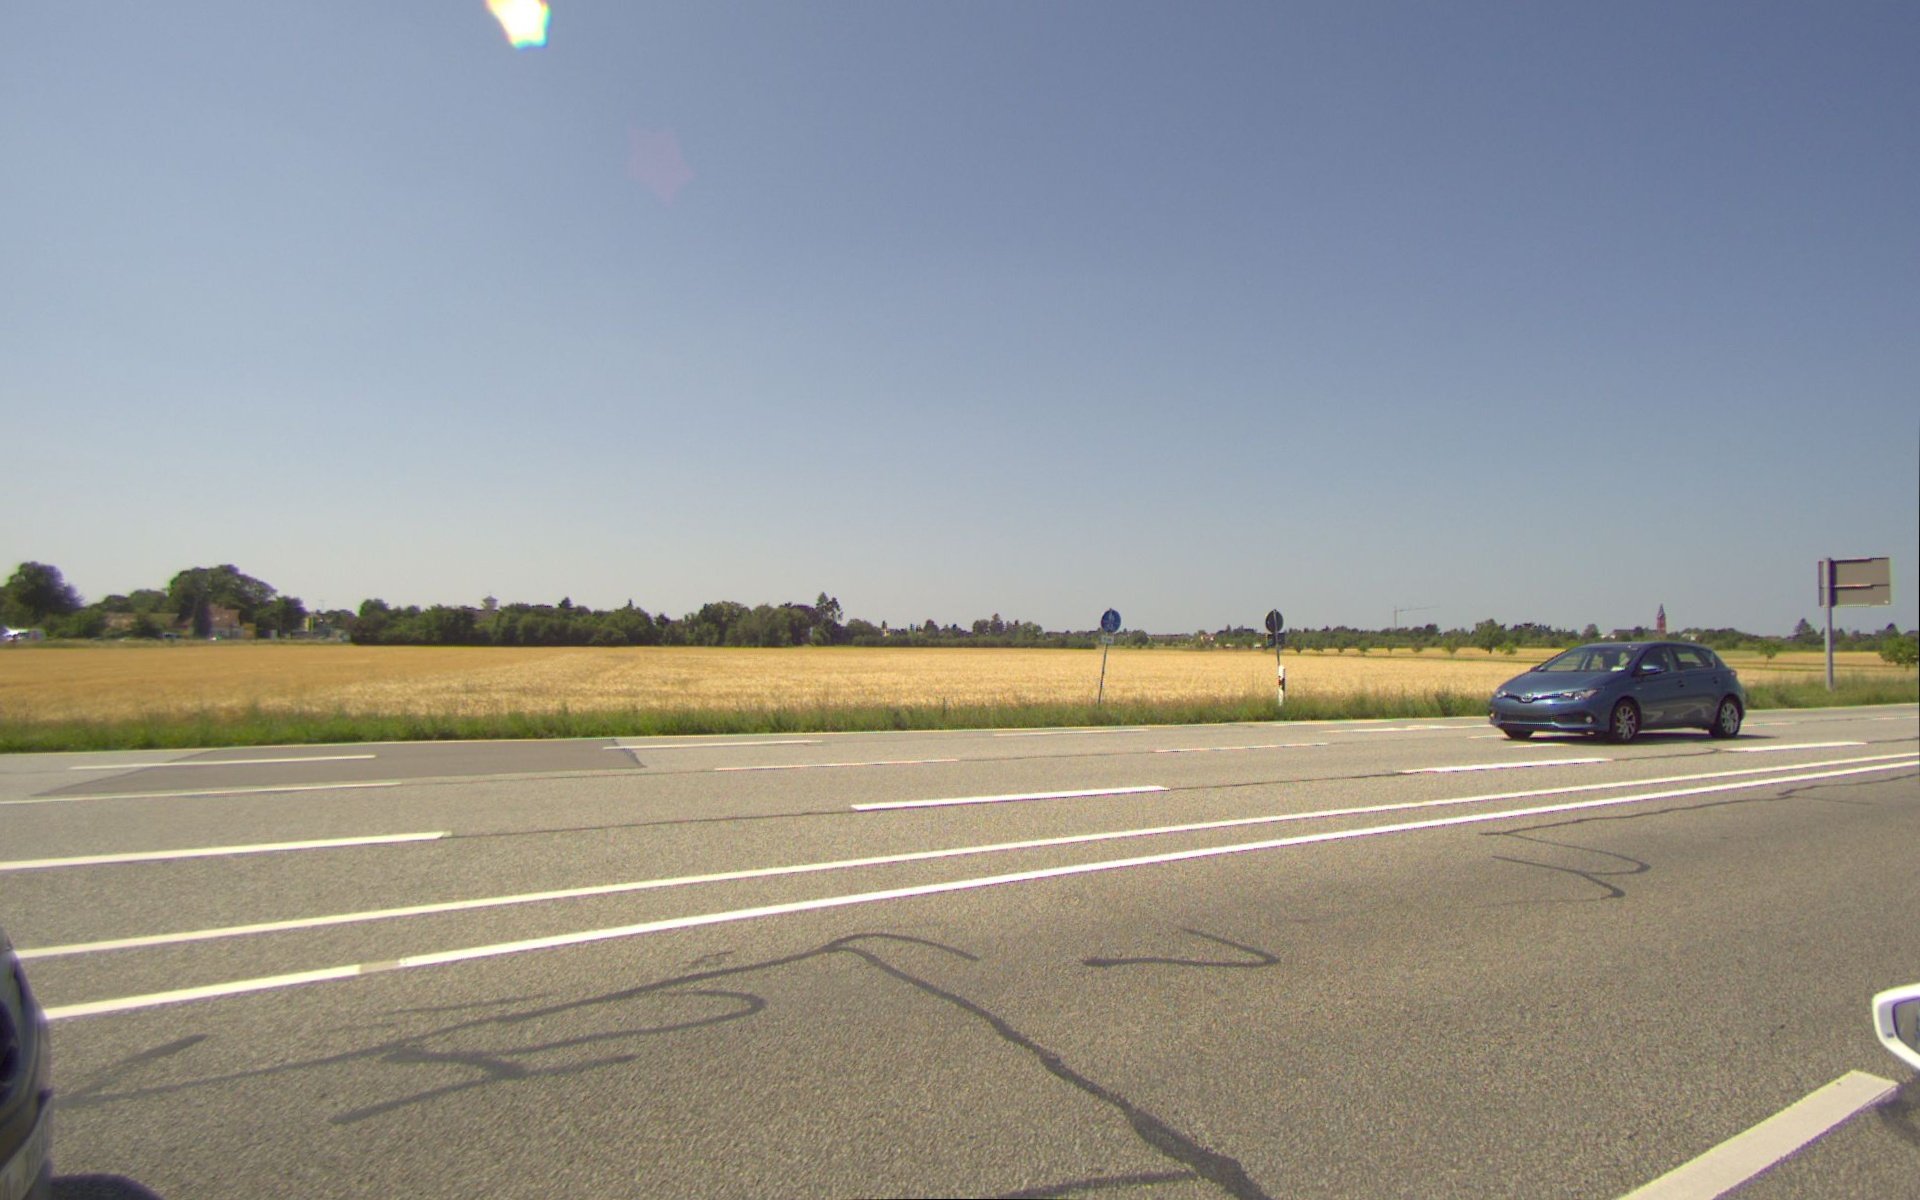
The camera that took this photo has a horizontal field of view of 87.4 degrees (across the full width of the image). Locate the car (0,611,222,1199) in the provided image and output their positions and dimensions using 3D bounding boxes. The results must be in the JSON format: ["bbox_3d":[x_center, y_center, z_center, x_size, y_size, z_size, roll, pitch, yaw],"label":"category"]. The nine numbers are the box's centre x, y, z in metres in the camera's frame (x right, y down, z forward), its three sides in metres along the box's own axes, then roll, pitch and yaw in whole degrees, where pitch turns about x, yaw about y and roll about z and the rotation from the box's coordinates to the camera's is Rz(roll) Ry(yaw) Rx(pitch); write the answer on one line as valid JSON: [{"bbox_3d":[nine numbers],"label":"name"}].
[{"bbox_3d":[-3.750,0.705,0.854,4.821,1.469,1.802,2,-1,-31],"label":"car"}]

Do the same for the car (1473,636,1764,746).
[{"bbox_3d":[9.990,1.348,15.230,4.174,1.476,1.755,2,-4,-25],"label":"car"}]
